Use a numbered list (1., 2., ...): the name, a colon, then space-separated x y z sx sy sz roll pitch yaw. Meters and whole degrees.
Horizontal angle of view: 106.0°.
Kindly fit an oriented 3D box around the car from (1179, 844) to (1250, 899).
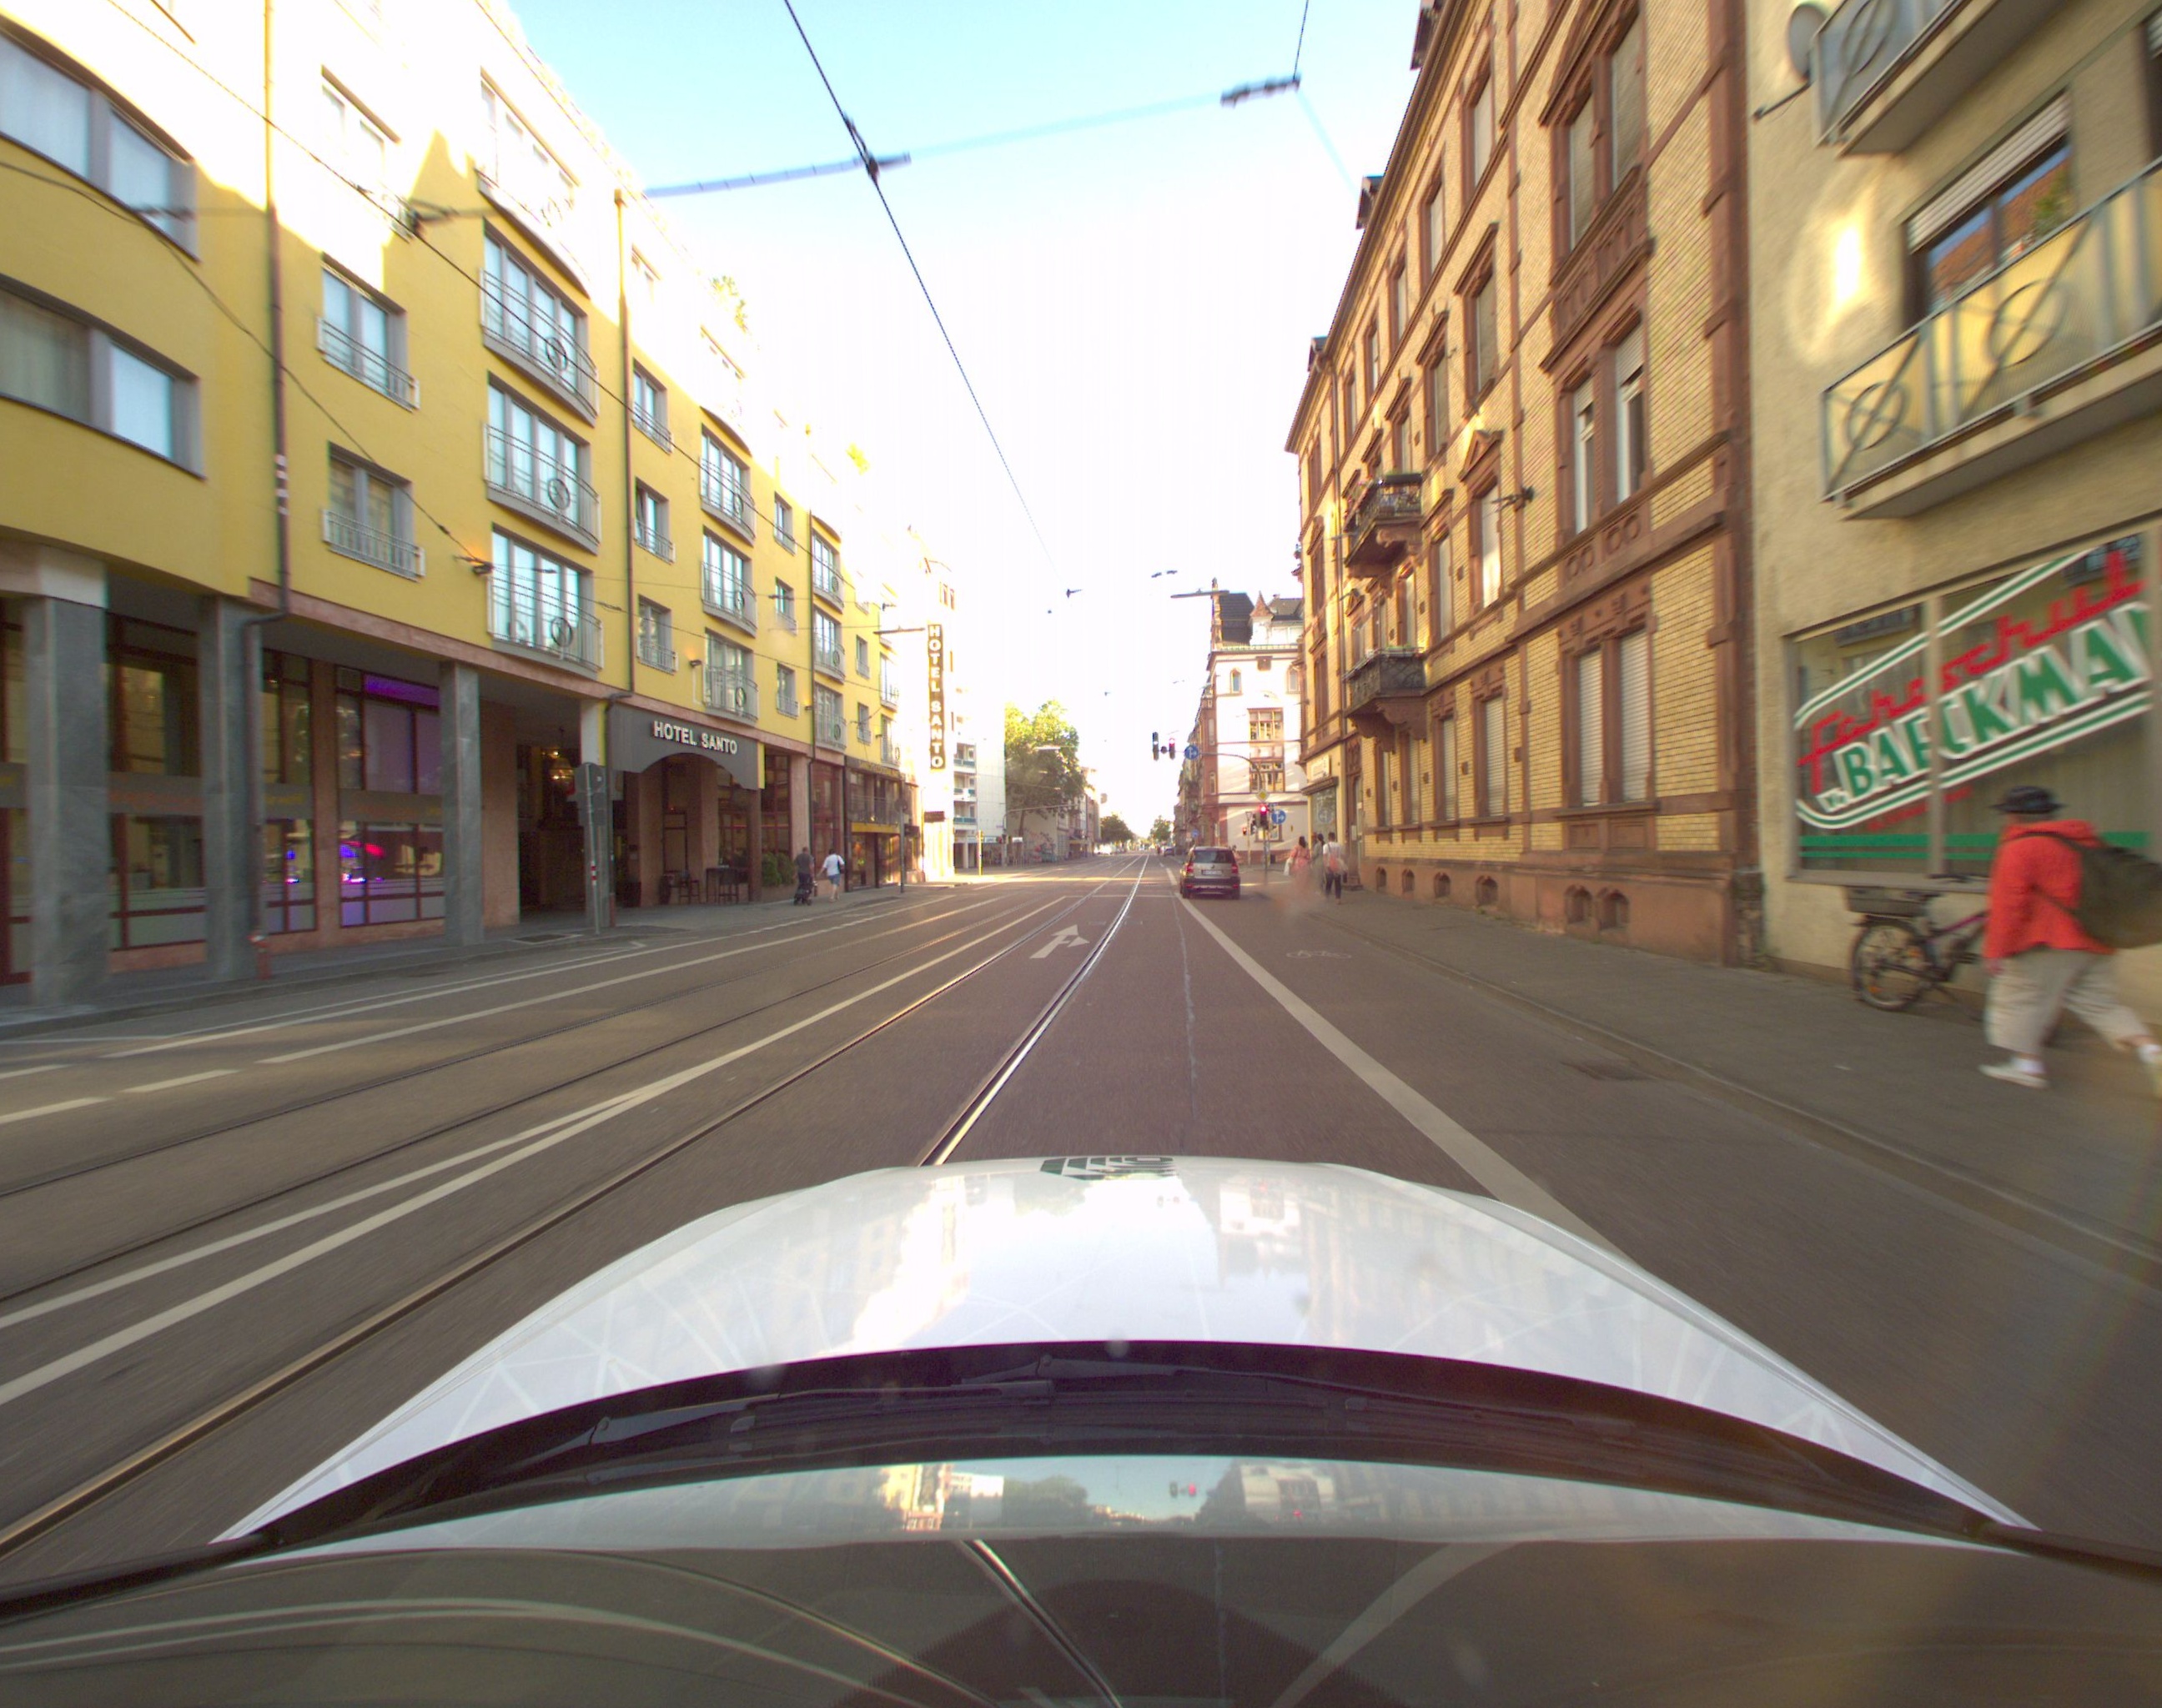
1. car: 4.236 0.520 26.398 1.984 1.618 4.005 0 0 5

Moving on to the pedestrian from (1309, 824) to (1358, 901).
1. pedestrian: 6.209 0.205 20.116 0.802 1.800 1.093 -4 0 3

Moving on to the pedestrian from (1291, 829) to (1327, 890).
1. pedestrian: 6.971 0.167 24.932 0.801 1.800 0.762 -4 0 5

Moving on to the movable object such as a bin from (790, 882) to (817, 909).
1. movable object such as a bin: -8.427 1.252 24.743 0.381 0.716 0.842 4 1 6

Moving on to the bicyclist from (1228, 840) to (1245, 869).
1. bicyclist: 8.844 0.038 46.233 0.733 1.634 0.612 1 -1 31

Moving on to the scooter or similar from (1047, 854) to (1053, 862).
1. scooter or similar: -3.826 0.508 100.807 0.514 1.057 1.479 0 0 3

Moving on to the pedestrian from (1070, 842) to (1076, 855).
1. pedestrian: -1.096 -0.699 107.106 0.698 1.728 0.648 0 0 5

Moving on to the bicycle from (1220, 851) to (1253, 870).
1. bicycle: 8.850 0.374 46.368 1.698 1.034 0.602 1 -1 30

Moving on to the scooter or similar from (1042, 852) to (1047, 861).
1. scooter or similar: -4.516 0.321 100.824 0.514 1.045 1.479 0 0 3

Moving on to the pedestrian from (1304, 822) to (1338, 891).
1. pedestrian: 6.849 0.064 23.279 0.687 1.908 0.671 -4 0 3

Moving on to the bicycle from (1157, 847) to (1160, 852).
1. bicycle: 15.379 -0.852 161.448 0.572 1.030 1.898 0 0 6

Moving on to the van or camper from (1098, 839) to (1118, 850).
1. van or camper: 6.617 -2.262 199.556 4.659 2.563 1.983 1 -1 -26

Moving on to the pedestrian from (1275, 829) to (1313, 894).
1. pedestrian: 6.127 0.208 23.426 0.802 1.800 0.762 -4 0 3

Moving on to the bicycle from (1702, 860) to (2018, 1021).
1. bicycle: 6.219 0.603 6.743 0.552 1.061 2.314 -3 0 6

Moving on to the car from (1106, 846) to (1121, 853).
1. car: 9.474 -1.388 235.351 4.000 2.013 1.987 0 0 -20

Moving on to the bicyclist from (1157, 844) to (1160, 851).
1. bicyclist: 15.347 -1.286 161.206 0.572 1.554 0.596 0 0 6

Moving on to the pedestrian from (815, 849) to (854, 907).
1. pedestrian: -8.014 0.760 26.540 0.748 1.818 1.047 4 1 5

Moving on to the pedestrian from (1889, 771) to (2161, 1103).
1. pedestrian: 5.246 0.418 4.467 0.790 1.627 0.830 -6 0 24

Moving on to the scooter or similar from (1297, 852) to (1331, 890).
1. scooter or similar: 6.937 0.503 24.287 0.801 1.070 0.522 -5 0 5

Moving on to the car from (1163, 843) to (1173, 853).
1. car: 15.864 -1.049 148.413 1.940 1.684 4.007 0 0 6

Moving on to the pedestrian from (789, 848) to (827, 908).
1. pedestrian: -8.557 0.740 25.535 0.794 1.770 0.750 4 1 5
